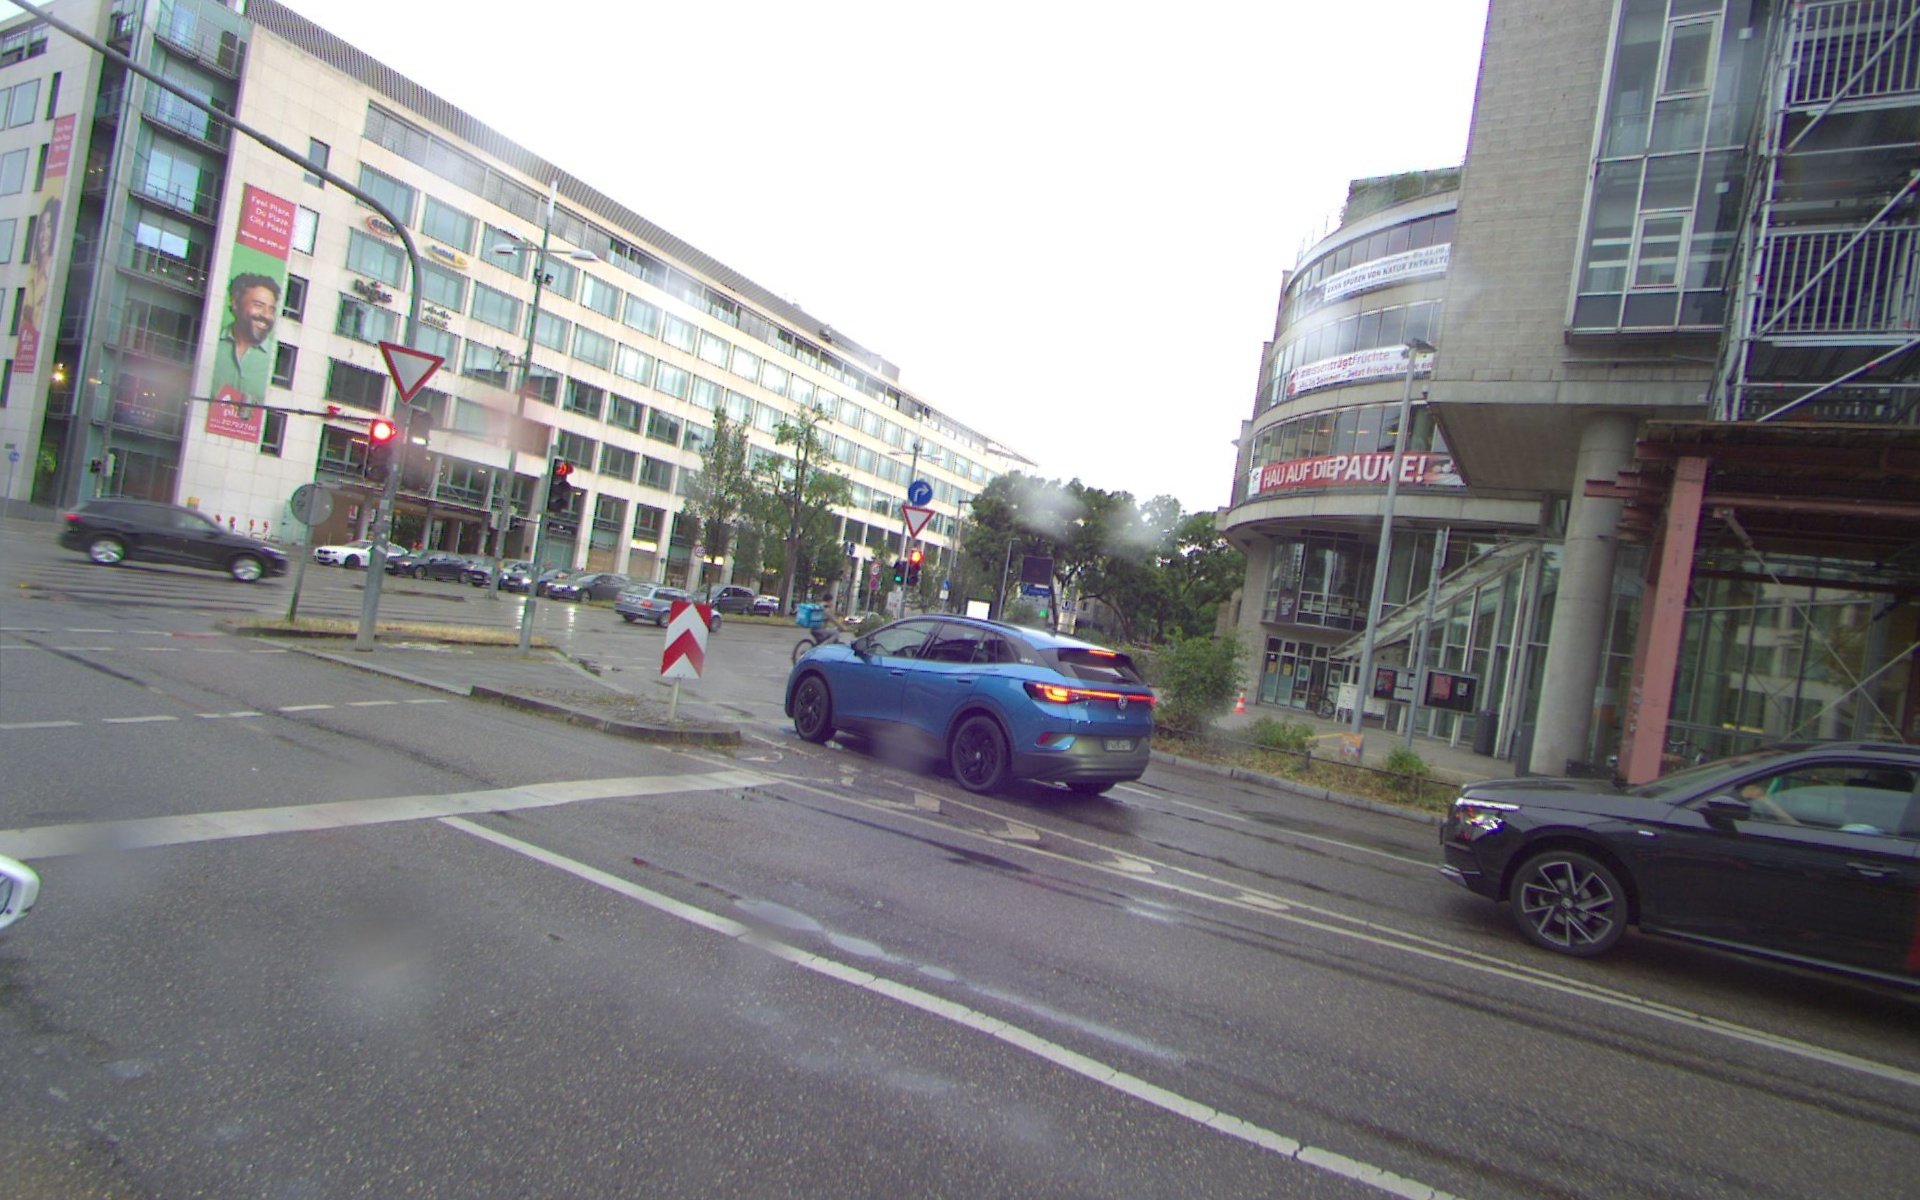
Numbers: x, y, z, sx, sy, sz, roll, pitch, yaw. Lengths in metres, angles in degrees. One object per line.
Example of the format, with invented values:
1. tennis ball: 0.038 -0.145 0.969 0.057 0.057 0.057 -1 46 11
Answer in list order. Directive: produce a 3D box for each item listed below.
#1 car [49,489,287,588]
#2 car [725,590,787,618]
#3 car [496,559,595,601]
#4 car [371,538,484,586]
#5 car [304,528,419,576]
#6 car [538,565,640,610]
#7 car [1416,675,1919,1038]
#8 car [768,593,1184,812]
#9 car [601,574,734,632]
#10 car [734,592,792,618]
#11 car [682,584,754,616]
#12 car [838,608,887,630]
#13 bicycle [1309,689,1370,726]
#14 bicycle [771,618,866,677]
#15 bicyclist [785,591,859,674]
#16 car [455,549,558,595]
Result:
1. car: -19.296 -1.487 24.711 4.332 1.675 1.948 9 0 -39
2. car: -14.040 0.310 69.563 1.891 1.364 4.653 7 -2 21
3. car: -19.183 -0.886 46.789 1.690 1.364 4.469 7 -2 17
4. car: -25.187 -1.779 47.788 1.963 1.616 4.468 7 -2 20
5. car: -28.634 -2.255 48.334 1.962 1.616 4.469 7 -1 17
6. car: -16.530 -0.521 45.065 1.690 1.481 4.468 7 -2 19
7. car: 5.247 1.553 6.195 4.080 1.558 1.780 7 -1 34
8. car: -0.043 0.950 10.607 1.699 1.547 4.373 9 -2 -43
9. car: -10.260 0.161 35.658 1.964 1.504 4.463 8 0 24
10. car: -14.879 0.387 76.171 1.892 1.364 4.650 7 -2 24
11. car: -14.377 0.049 60.078 1.891 1.364 4.654 7 -2 19
12. car: -8.166 1.620 84.477 1.892 1.364 4.650 7 -2 25
13. bicycle: 13.435 3.800 35.622 1.816 0.995 0.757 8 -1 12
14. bicycle: -3.191 1.096 22.900 0.834 1.116 2.149 7 -1 33
15. bicyclist: -3.145 0.762 22.939 0.834 1.724 1.296 7 -1 33
16. car: -21.858 -1.318 48.715 1.962 1.616 4.469 7 -1 17
